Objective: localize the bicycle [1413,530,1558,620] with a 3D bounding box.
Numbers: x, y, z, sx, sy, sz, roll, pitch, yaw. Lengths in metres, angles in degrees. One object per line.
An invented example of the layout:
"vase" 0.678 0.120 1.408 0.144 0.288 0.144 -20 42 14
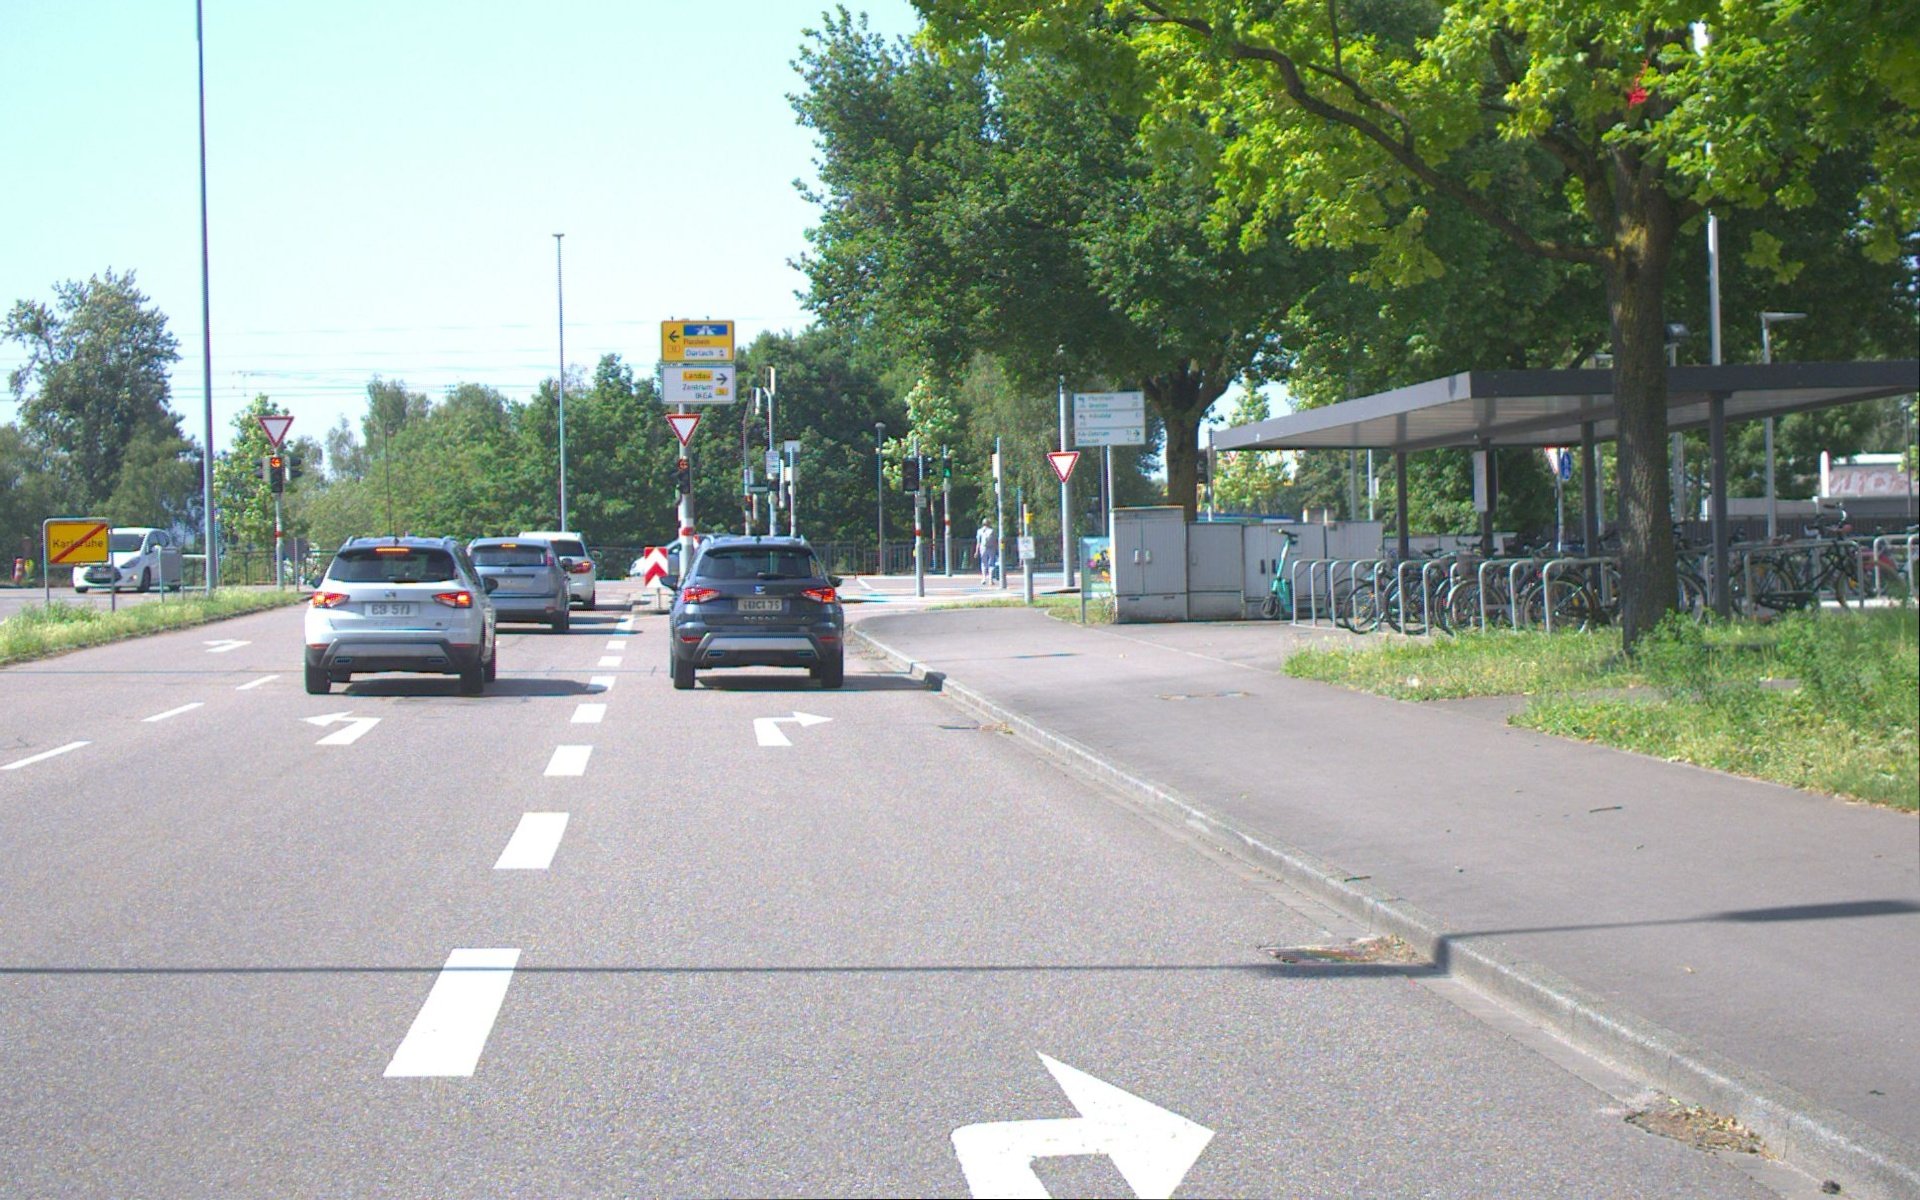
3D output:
"bicycle" 6.745 -0.329 44.172 1.758 1.092 0.452 -2 1 -4

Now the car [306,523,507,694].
"car" -5.508 0.034 34.558 1.630 1.493 3.871 0 3 -4

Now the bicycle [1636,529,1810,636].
"bicycle" 8.224 -0.189 37.081 1.758 1.092 0.452 -2 1 -4

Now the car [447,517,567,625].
"car" -7.079 -0.488 53.993 1.706 1.568 4.175 -2 1 -6

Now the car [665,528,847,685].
"car" -2.132 0.030 35.262 1.669 1.518 3.377 0 1 -7

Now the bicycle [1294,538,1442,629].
"bicycle" 5.119 -0.211 43.170 1.758 1.092 0.452 -2 1 -4

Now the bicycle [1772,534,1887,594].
"bicycle" 12.737 -0.526 50.394 1.561 0.840 0.434 -1 1 -3

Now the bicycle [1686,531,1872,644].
"bicycle" 8.309 -0.131 34.913 1.758 1.092 0.452 -2 1 -4

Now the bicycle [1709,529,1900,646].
"bicycle" 8.310 -0.126 33.845 1.758 1.092 0.452 -2 1 -4

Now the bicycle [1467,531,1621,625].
"bicycle" 7.094 -0.271 41.779 1.758 1.092 0.452 -2 1 -4

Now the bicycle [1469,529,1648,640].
"bicycle" 6.250 -0.167 35.926 1.758 1.092 0.452 -2 1 -4

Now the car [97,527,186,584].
"car" -14.897 -0.822 62.655 1.117 1.000 2.492 -2 1 -3

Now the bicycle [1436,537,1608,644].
"bicycle" 6.101 -0.108 37.334 1.758 1.092 0.452 -2 1 -4

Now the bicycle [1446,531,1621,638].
"bicycle" 6.137 -0.171 36.804 1.758 1.092 0.452 -2 1 -4

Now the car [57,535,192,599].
"car" -20.897 -0.834 86.150 1.794 1.541 4.085 -1 1 9

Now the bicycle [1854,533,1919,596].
"bicycle" 13.085 -0.496 47.086 1.561 0.840 0.434 -1 1 -3

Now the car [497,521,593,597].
"car" -8.276 -0.845 68.819 1.741 1.443 4.390 -1 1 -5

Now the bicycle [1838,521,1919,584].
"bicycle" 13.090 -0.669 47.939 1.561 0.840 0.434 -1 1 -3

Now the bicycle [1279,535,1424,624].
"bicycle" 5.026 -0.266 44.166 1.758 1.092 0.452 -2 1 -4

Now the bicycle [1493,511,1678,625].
"bicycle" 6.309 -0.331 34.705 1.758 1.092 0.463 -2 1 -4

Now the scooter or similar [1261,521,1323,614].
"scooter or similar" 4.646 -0.457 48.086 0.776 1.261 0.284 -2 1 -7

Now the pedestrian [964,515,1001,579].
"pedestrian" 0.556 -1.306 84.269 0.773 1.505 1.007 -1 2 6

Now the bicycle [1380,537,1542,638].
"bicycle" 5.754 -0.150 39.475 1.758 1.092 0.452 -2 1 -4

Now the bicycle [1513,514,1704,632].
"bicycle" 6.365 -0.265 33.772 1.758 1.092 0.452 -2 1 -4

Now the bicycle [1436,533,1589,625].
"bicycle" 6.951 -0.270 43.281 1.828 1.092 0.452 -2 1 -4

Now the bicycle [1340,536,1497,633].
"bicycle" 5.432 -0.192 40.764 1.758 1.092 0.452 -2 1 -4

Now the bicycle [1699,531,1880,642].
"bicycle" 8.635 -0.146 35.819 1.758 1.092 0.452 -2 1 -4
